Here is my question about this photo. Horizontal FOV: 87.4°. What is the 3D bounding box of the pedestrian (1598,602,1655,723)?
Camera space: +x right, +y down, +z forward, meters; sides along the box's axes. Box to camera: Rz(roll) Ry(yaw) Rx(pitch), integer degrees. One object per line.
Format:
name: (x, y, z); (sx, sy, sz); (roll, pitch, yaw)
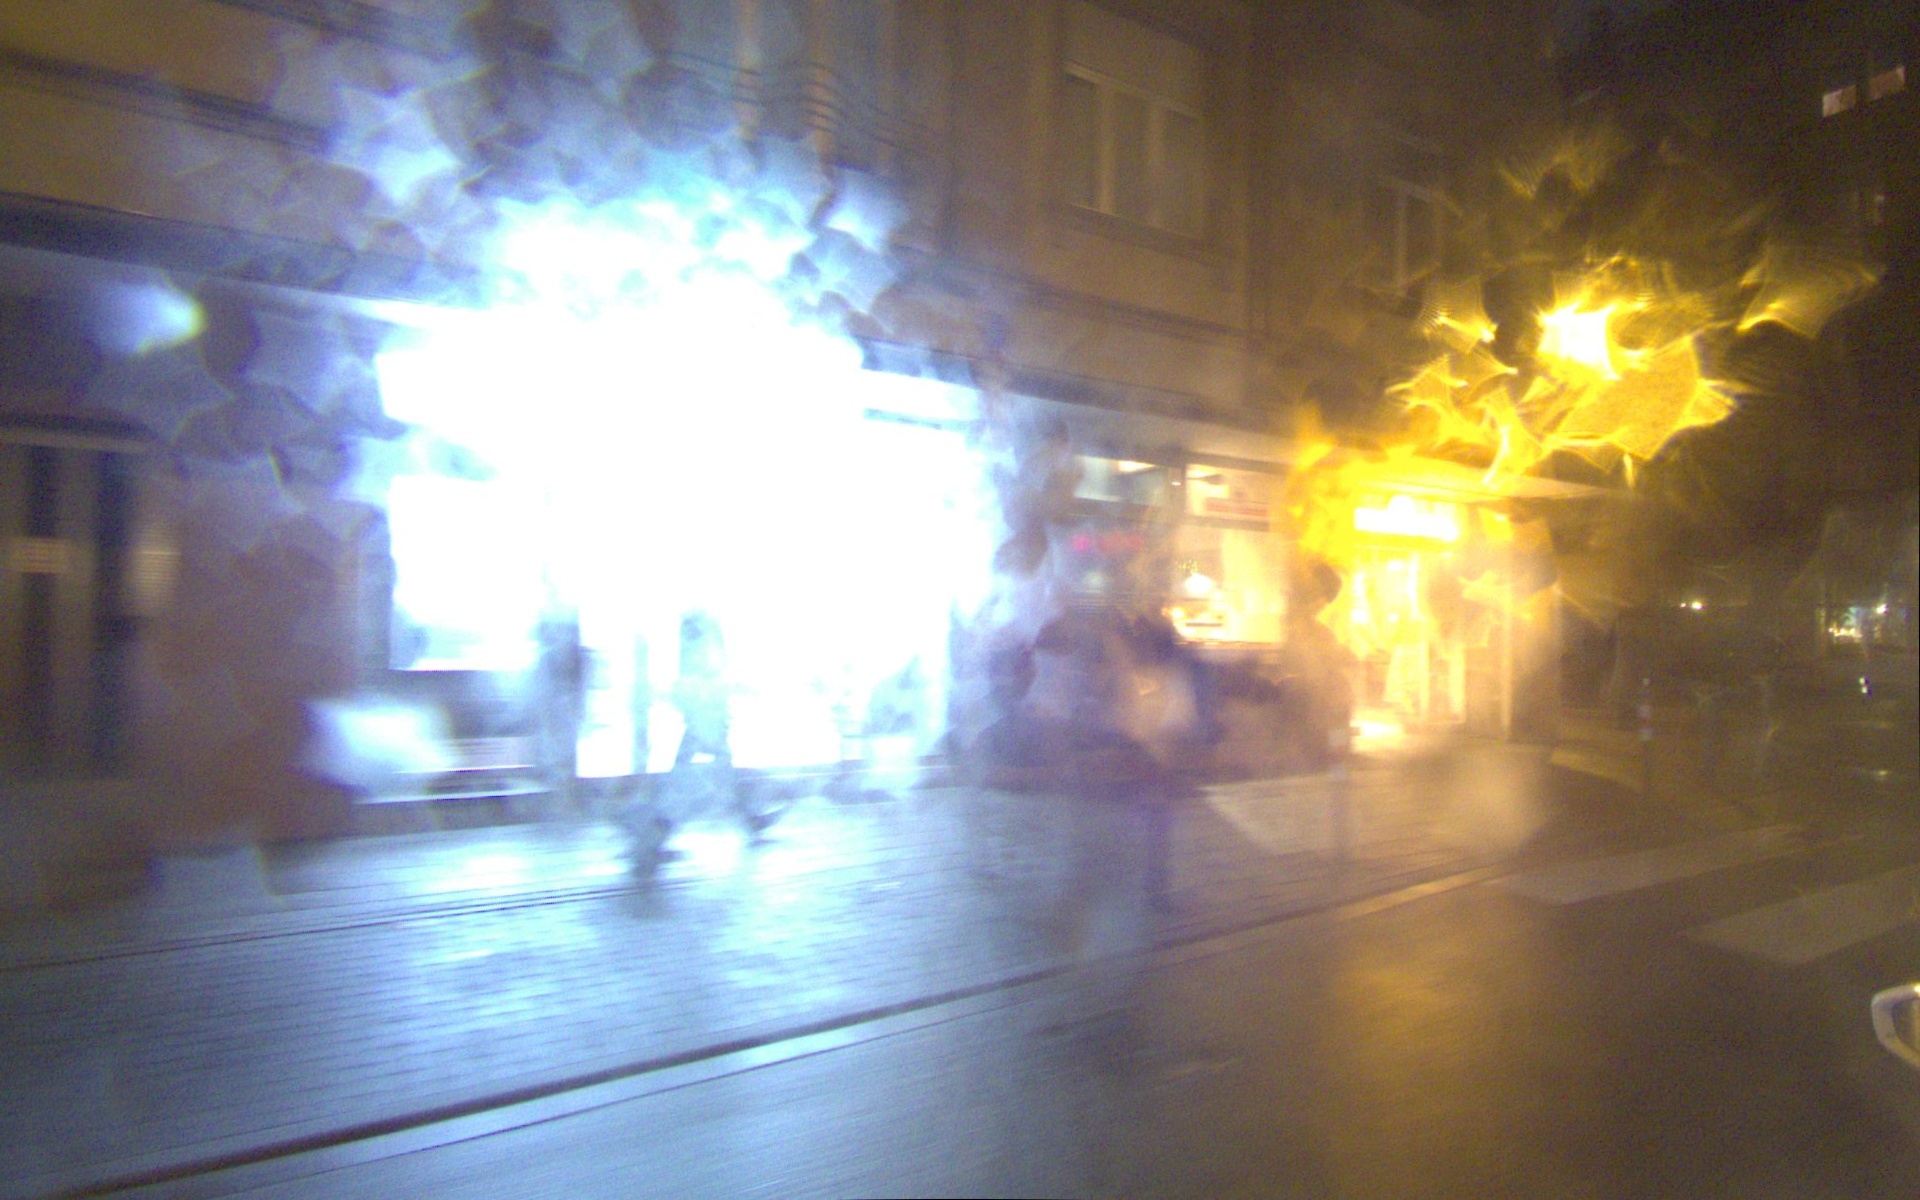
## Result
pedestrian: (10.962, 1.010, 16.539); (0.642, 1.934, 0.628); (0, -1, 20)

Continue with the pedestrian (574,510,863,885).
pedestrian: (-1.408, 0.516, 5.844); (1.399, 1.888, 0.951); (2, -2, -31)
